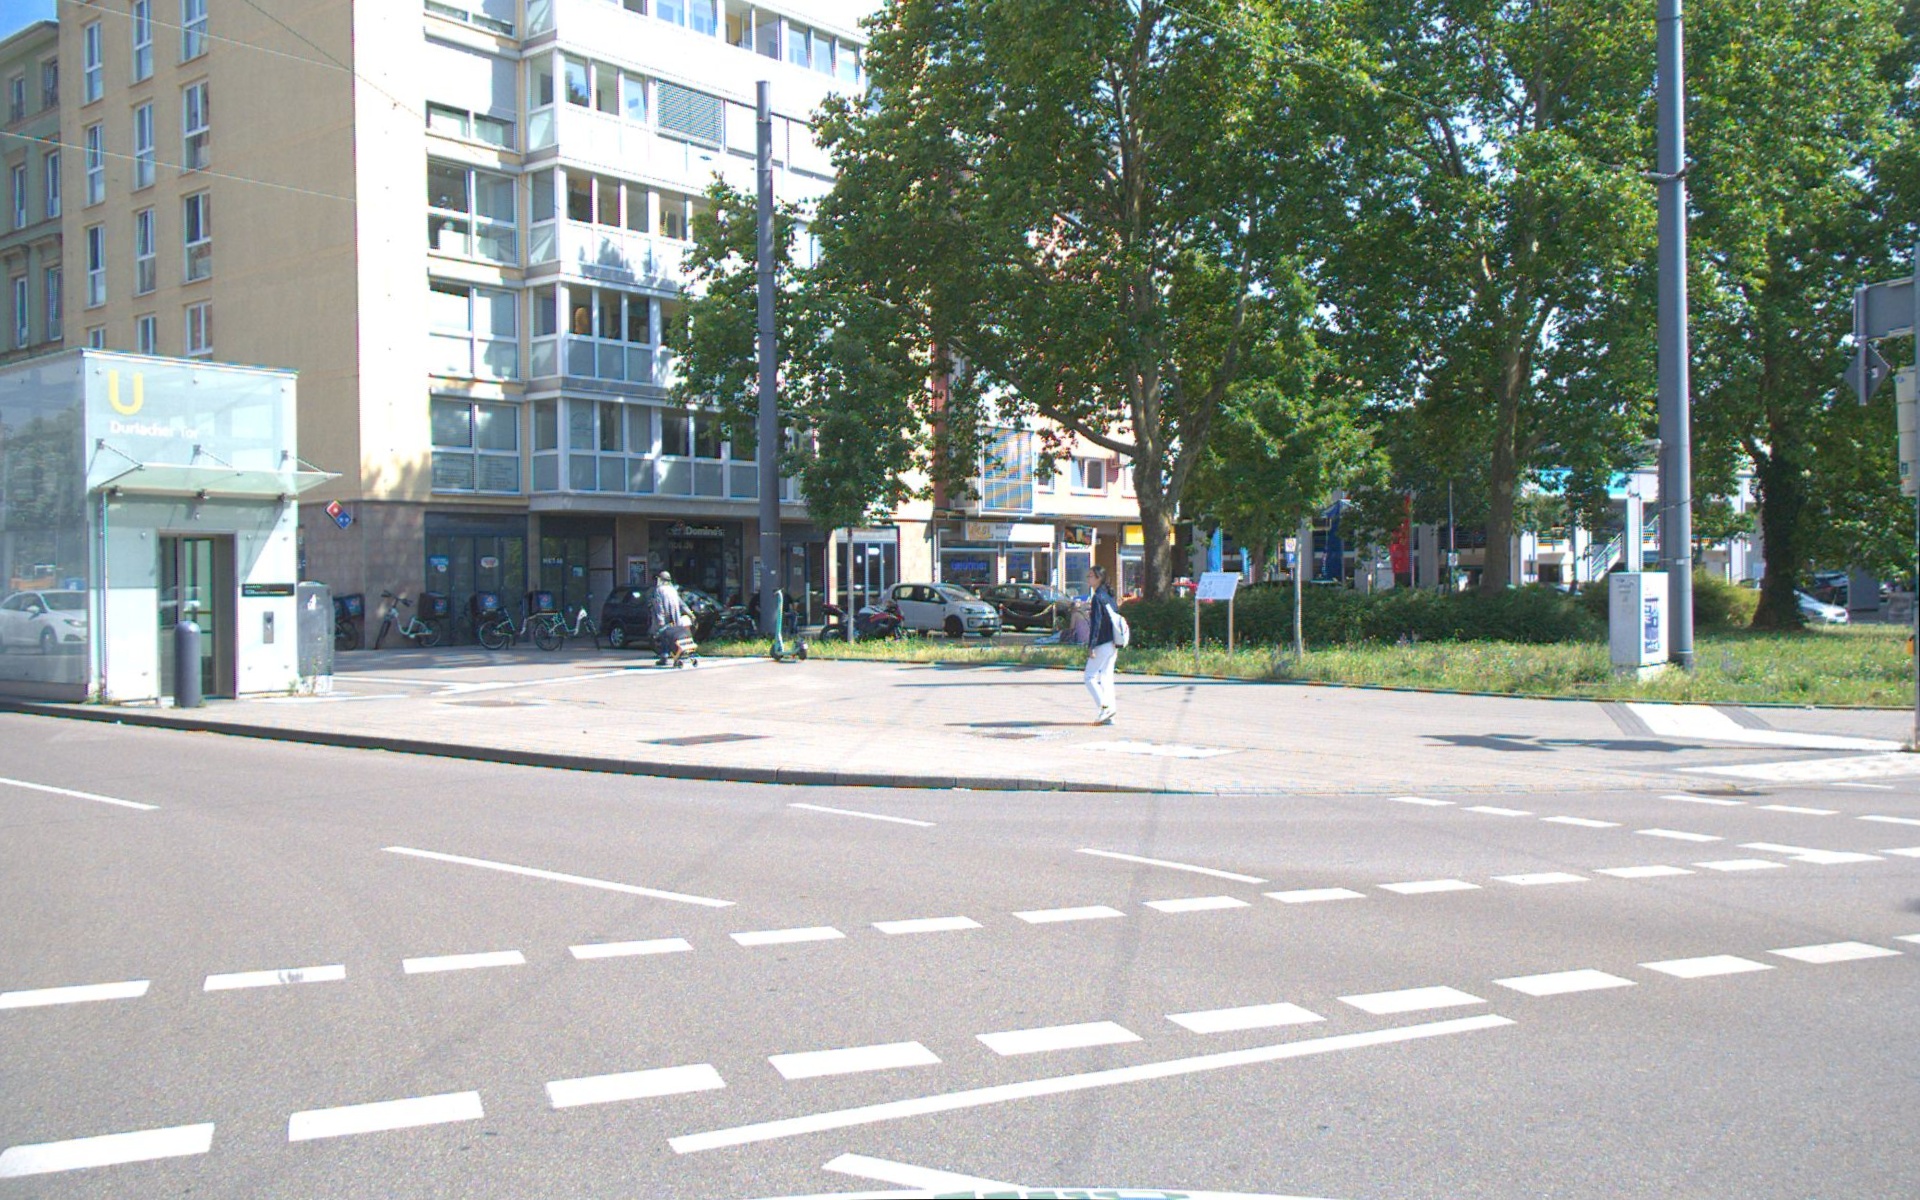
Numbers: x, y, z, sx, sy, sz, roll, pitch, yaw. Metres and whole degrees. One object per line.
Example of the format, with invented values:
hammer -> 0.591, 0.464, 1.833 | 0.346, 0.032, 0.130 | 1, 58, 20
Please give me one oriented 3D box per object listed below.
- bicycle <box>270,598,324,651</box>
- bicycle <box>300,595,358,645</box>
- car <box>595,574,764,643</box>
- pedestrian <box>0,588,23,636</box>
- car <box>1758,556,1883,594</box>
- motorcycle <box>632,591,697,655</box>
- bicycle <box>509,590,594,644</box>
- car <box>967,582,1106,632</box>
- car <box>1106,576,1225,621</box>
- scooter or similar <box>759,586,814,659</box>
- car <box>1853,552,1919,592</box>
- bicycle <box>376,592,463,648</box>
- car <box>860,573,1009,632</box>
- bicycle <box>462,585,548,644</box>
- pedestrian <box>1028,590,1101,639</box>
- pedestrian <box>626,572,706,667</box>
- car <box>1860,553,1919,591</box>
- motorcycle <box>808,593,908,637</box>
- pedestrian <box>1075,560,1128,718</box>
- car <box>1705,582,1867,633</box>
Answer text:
bicycle -> -14.708, 0.525, 36.673 | 0.578, 1.104, 1.732 | -5, 3, -38
bicycle -> -14.101, 0.435, 36.943 | 0.579, 1.061, 1.728 | -2, 1, -44
car -> -6.524, 0.193, 38.264 | 4.017, 1.496, 1.650 | 0, -2, 40
pedestrian -> -28.202, 0.341, 49.020 | 0.634, 1.398, 0.524 | 0, 1, 39
car -> 34.038, -1.019, 65.502 | 1.976, 1.395, 3.954 | -1, 3, -34
motorcycle -> -5.333, 0.400, 29.742 | 0.630, 1.080, 2.021 | -1, 1, -25
bicycle -> -8.965, 0.369, 36.348 | 1.741, 1.104, 0.575 | -3, 1, -41
car -> 2.275, 0.174, 49.747 | 3.927, 1.292, 1.735 | 3, 3, 40
car -> 6.966, -0.082, 56.205 | 3.667, 1.363, 1.735 | 3, 3, 40
scooter or similar -> -2.851, 0.353, 27.062 | 0.508, 1.139, 1.354 | -1, 1, -23
car -> 37.748, -1.111, 65.291 | 1.977, 1.579, 3.951 | -1, 1, -35
bicycle -> -12.291, 0.434, 37.635 | 0.531, 1.206, 1.879 | 0, 1, 41
car -> -0.748, 0.041, 46.406 | 3.926, 1.464, 1.881 | 3, 3, 40
bicycle -> -10.137, 0.320, 36.881 | 1.741, 1.240, 0.575 | -2, 1, -41
pedestrian -> 2.016, 0.267, 32.015 | 1.153, 0.908, 0.819 | 0, 1, 37
pedestrian -> -4.730, 0.303, 26.599 | 1.095, 1.427, 0.655 | 2, 6, 35
car -> 39.334, -1.173, 67.702 | 1.977, 1.534, 3.951 | -1, 1, -35
motorcycle -> -2.061, 0.294, 33.564 | 1.990, 0.856, 0.640 | -1, 1, 0
pedestrian -> 1.507, 0.403, 17.562 | 0.443, 1.632, 0.400 | 2, 2, 20
car -> 27.459, 0.201, 55.141 | 1.945, 1.461, 4.556 | 0, 3, -29
